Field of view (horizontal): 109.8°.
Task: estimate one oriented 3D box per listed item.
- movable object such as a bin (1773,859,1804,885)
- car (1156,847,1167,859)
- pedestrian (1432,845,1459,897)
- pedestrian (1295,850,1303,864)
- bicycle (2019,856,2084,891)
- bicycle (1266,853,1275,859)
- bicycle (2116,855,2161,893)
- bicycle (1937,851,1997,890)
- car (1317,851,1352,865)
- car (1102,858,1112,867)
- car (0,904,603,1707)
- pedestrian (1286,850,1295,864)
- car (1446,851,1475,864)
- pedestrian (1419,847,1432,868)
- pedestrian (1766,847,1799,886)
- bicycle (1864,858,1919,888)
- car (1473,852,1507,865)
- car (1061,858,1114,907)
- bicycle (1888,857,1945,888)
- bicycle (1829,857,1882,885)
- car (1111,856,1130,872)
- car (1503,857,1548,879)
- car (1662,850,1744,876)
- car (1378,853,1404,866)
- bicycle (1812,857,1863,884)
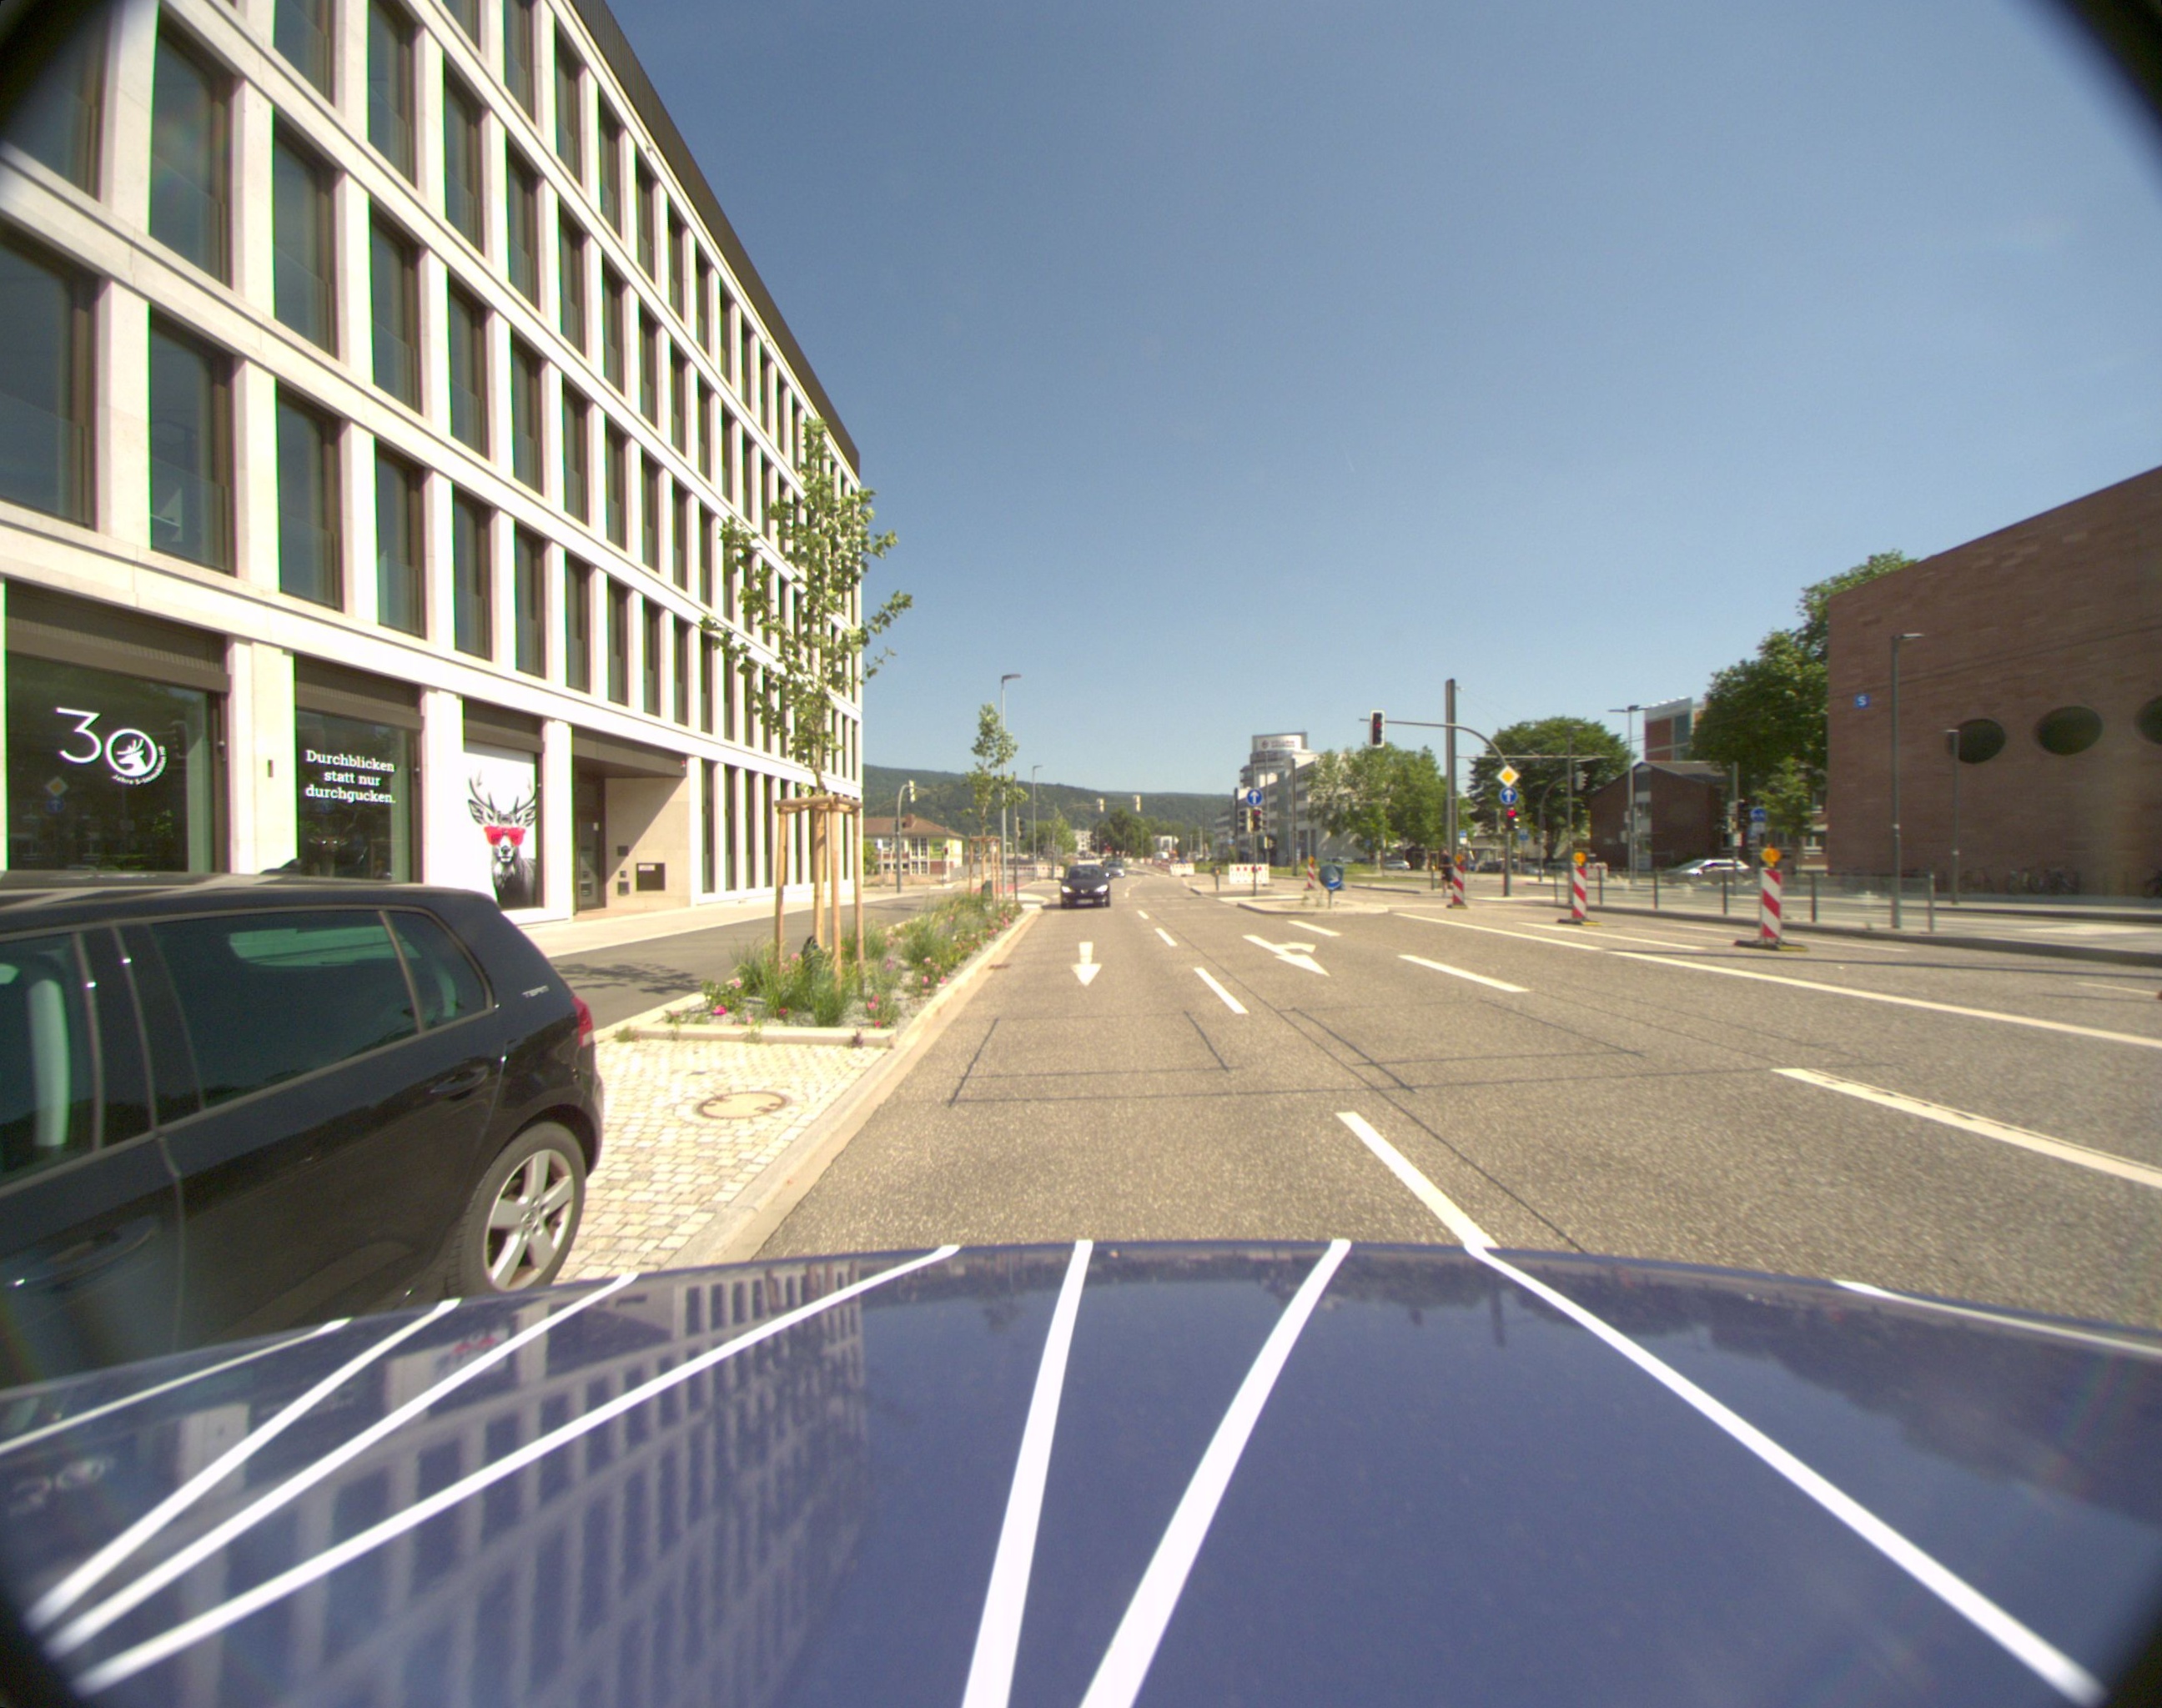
[{"bbox_3d":[29.693,0.752,31.878,0.716,1.025,0.792,-2,0,-35],"label":"movable object such as a bin"},{"bbox_3d":[18.587,-0.249,176.295,2.082,2.724,5.986,1,1,2],"label":"car"},{"bbox_3d":[13.041,0.605,27.199,0.654,1.823,0.661,-2,0,5],"label":"pedestrian"},{"bbox_3d":[31.977,0.442,111.488,0.841,2.002,0.983,-2,0,4],"label":"pedestrian"},{"bbox_3d":[35.409,0.717,27.723,2.058,1.205,0.539,-1,0,-10],"label":"bicycle"},{"bbox_3d":[40.798,0.475,163.471,1.650,1.182,0.438,-3,0,1],"label":"bicycle"},{"bbox_3d":[35.739,0.666,25.353,2.058,1.205,0.539,-2,1,-10],"label":"bicycle"},{"bbox_3d":[34.835,0.639,29.872,2.058,1.444,0.539,-1,0,-10],"label":"bicycle"},{"bbox_3d":[40.803,0.604,122.390,5.063,2.167,2.117,-1,1,28],"label":"car"},{"bbox_3d":[4.466,1.426,130.971,1.618,1.433,3.768,-3,1,2],"label":"car"},{"bbox_3d":[-2.652,0.935,0.951,1.741,1.465,3.979,0,0,-3],"label":"car"},{"bbox_3d":[30.790,0.497,111.583,0.985,2.002,0.910,-2,1,3],"label":"pedestrian"},{"bbox_3d":[49.152,0.497,98.495,1.773,1.581,3.636,-3,0,-4],"label":"car"},{"bbox_3d":[31.568,0.333,69.602,0.813,1.836,1.108,-1,0,7],"label":"pedestrian"},{"bbox_3d":[28.996,0.520,31.396,0.934,1.553,0.792,-2,0,-35],"label":"pedestrian"},{"bbox_3d":[34.402,0.785,32.265,2.058,1.205,0.539,-1,0,-10],"label":"bicycle"},{"bbox_3d":[45.399,0.487,84.520,1.542,1.448,4.268,-1,0,1],"label":"car"},{"bbox_3d":[0.220,0.897,25.538,1.618,1.433,3.706,-1,1,1],"label":"car"},{"bbox_3d":[34.452,0.773,31.347,2.058,1.205,0.539,-1,0,-10],"label":"bicycle"},{"bbox_3d":[34.327,0.752,33.678,2.058,1.205,0.539,0,1,-10],"label":"bicycle"},{"bbox_3d":[3.651,0.900,70.883,1.618,1.432,3.768,-1,0,0],"label":"car"},{"bbox_3d":[39.467,1.248,67.570,1.702,1.751,3.939,-2,1,1],"label":"car"},{"bbox_3d":[36.355,0.516,44.470,3.487,1.361,1.573,-2,0,0],"label":"car"},{"bbox_3d":[41.314,0.737,101.367,1.773,1.581,3.636,-3,0,-4],"label":"car"},{"bbox_3d":[34.256,0.741,34.416,2.058,1.205,0.539,-1,0,-10],"label":"bicycle"}]
